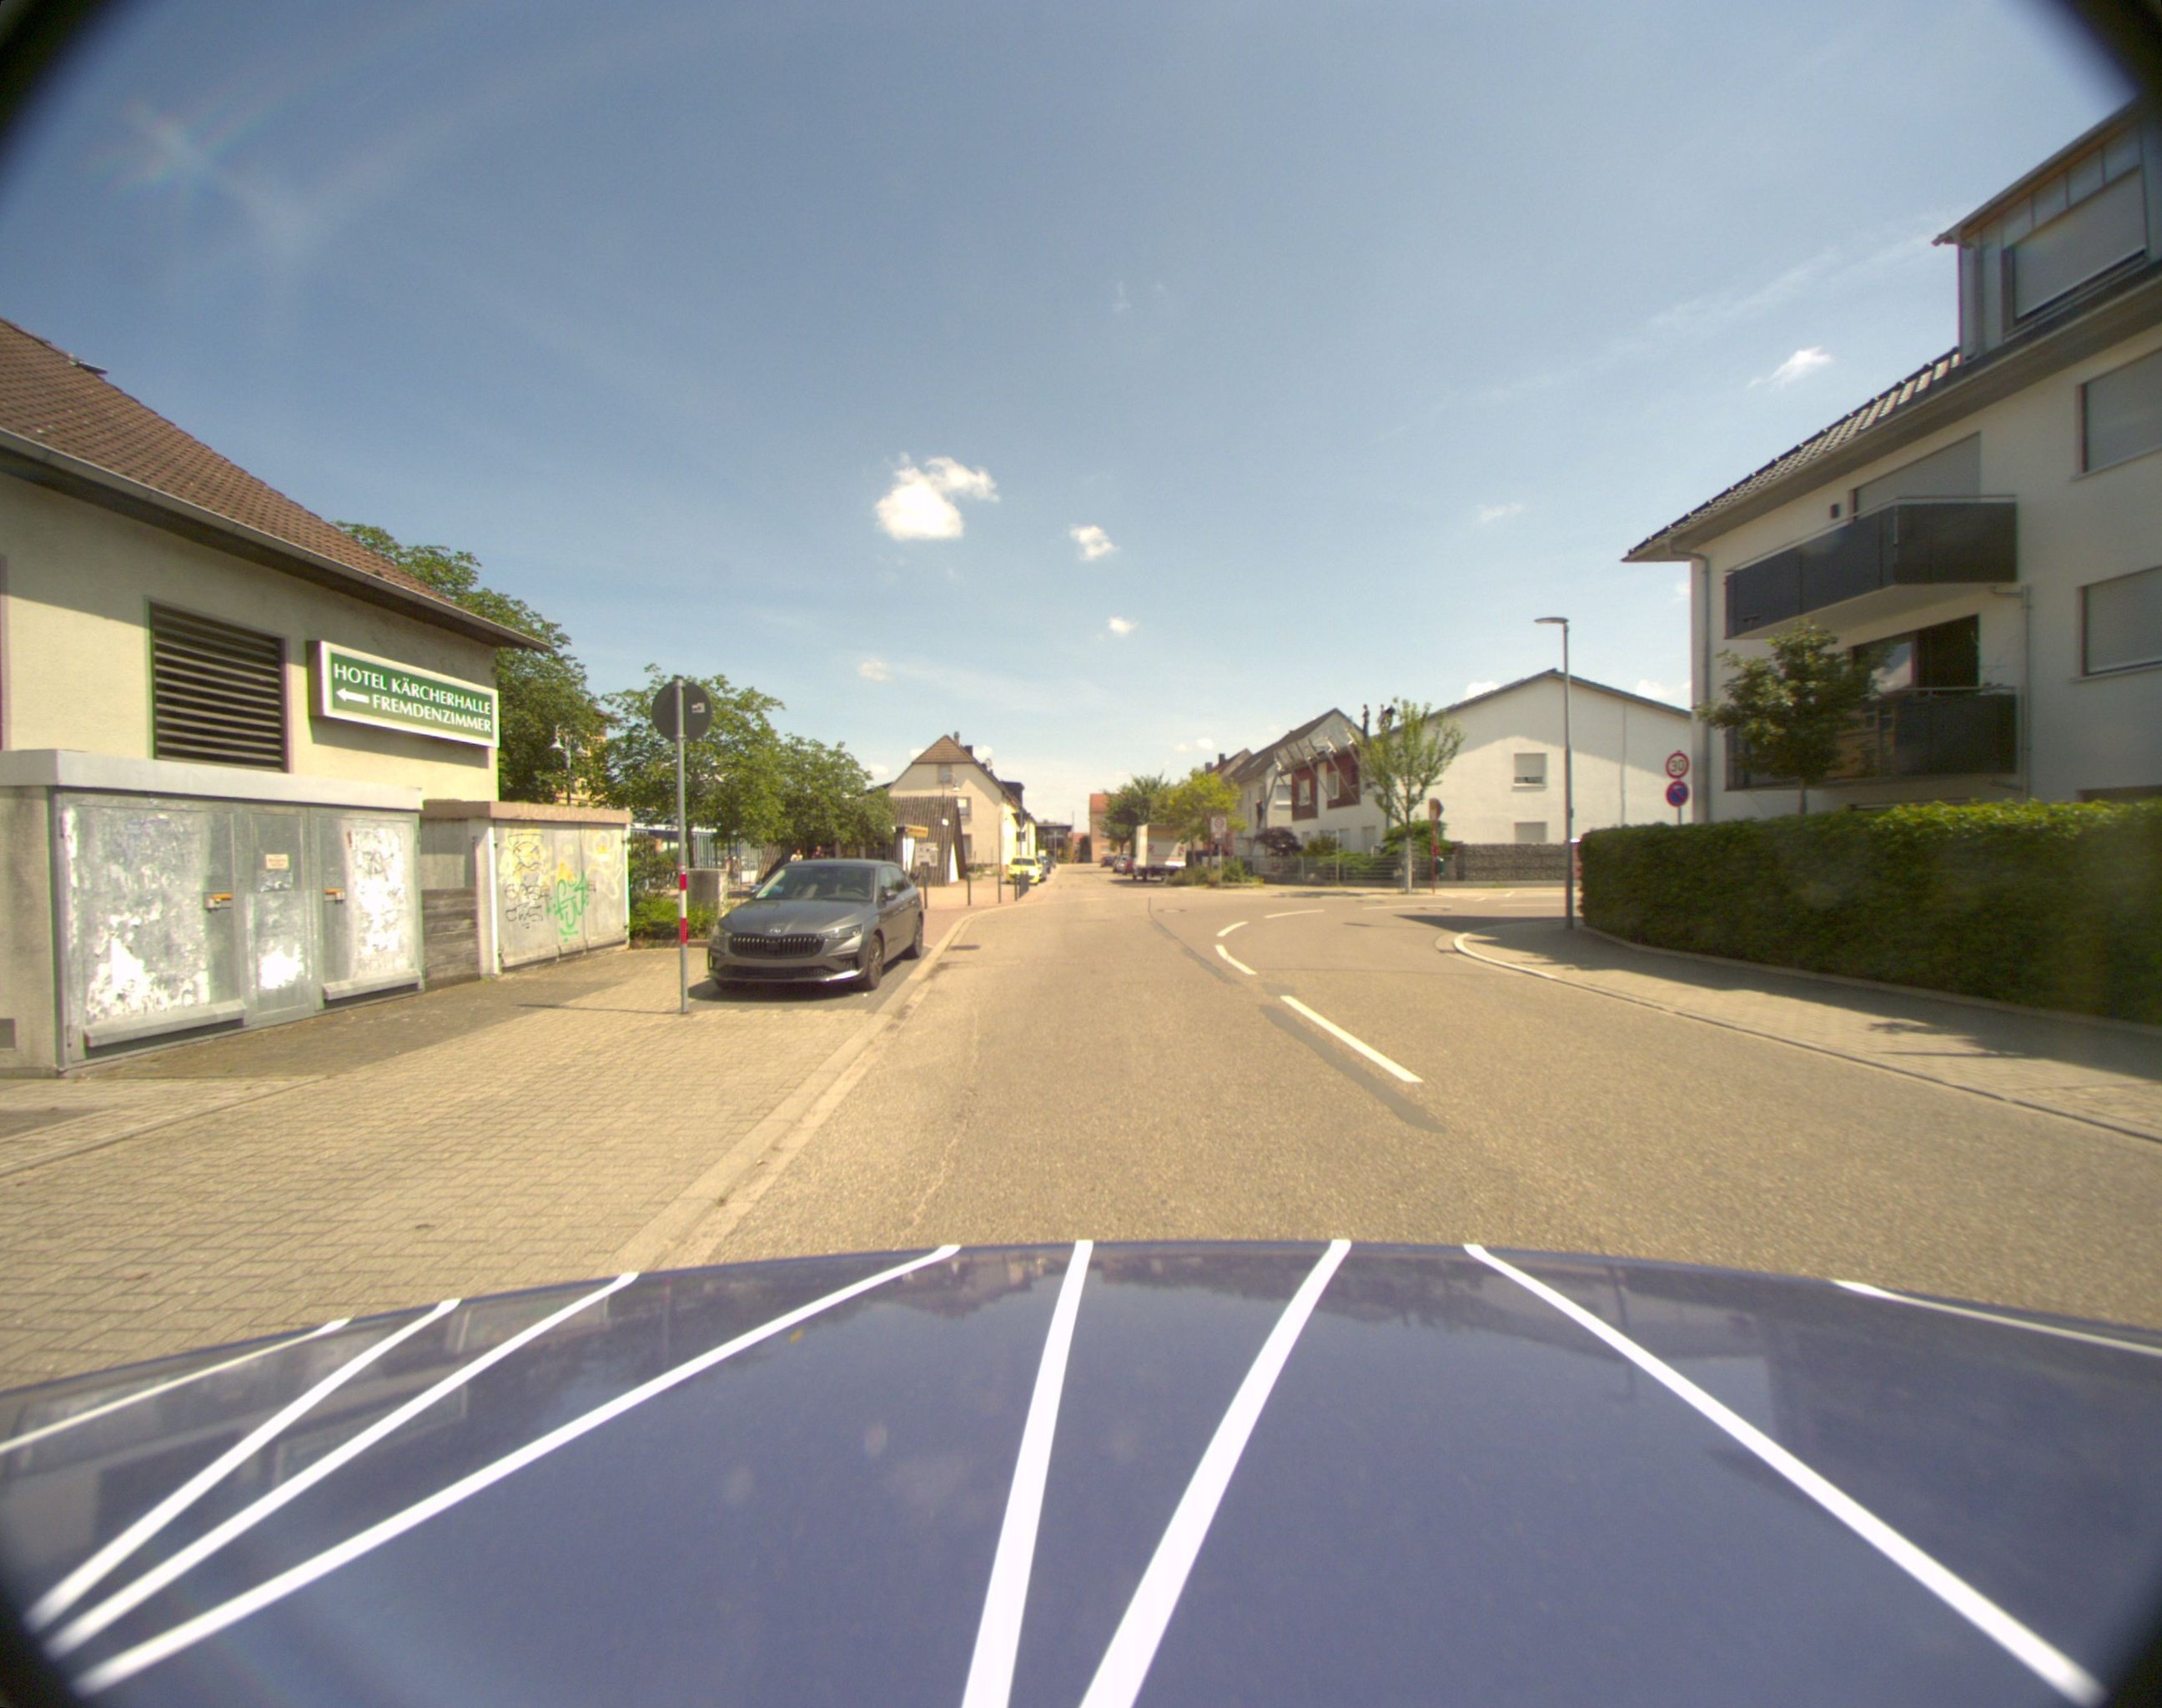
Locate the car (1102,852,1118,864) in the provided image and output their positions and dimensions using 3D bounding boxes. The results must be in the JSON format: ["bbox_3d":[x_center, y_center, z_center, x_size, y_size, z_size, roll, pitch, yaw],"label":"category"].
[{"bbox_3d":[3.580,0.464,95.105,1.721,1.491,4.214,1,0,-2],"label":"car"}]

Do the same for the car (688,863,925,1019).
[{"bbox_3d":[-3.163,0.894,9.670,1.632,1.480,4.138,0,0,-2],"label":"car"}]

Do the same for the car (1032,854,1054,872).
[{"bbox_3d":[-3.321,0.775,66.707,1.720,1.491,4.215,3,0,-1],"label":"car"}]

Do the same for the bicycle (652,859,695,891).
[{"bbox_3d":[-18.068,0.903,33.755,0.605,1.343,2.353,0,0,2],"label":"bicycle"}]

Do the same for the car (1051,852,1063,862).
[{"bbox_3d":[-3.699,0.477,119.389,1.720,1.491,4.215,3,0,-1],"label":"car"}]

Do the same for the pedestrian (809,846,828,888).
[{"bbox_3d":[-10.965,0.528,31.731,0.463,1.710,0.599,0,1,40],"label":"pedestrian"}]

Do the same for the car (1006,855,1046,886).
[{"bbox_3d":[-2.816,0.809,39.495,1.720,1.390,4.215,3,0,-1],"label":"car"}]

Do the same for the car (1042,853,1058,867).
[{"bbox_3d":[-3.630,0.653,89.100,1.720,1.491,4.215,3,0,-1],"label":"car"}]

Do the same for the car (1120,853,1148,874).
[{"bbox_3d":[4.017,0.725,58.290,1.721,1.491,4.214,1,0,-2],"label":"car"}]

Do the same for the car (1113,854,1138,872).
[{"bbox_3d":[3.773,0.736,64.645,1.721,1.491,4.214,1,0,-2],"label":"car"}]

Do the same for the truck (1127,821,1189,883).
[{"bbox_3d":[4.384,-0.116,44.637,2.444,3.227,7.034,2,0,-3],"label":"truck"}]

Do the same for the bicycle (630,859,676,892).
[{"bbox_3d":[-18.860,0.921,33.525,0.605,1.343,2.353,0,0,2],"label":"bicycle"}]

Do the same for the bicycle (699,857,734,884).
[{"bbox_3d":[-18.935,0.818,39.563,0.605,1.343,2.353,0,0,2],"label":"bicycle"}]

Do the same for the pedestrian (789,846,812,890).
[{"bbox_3d":[-11.472,0.578,31.069,0.548,1.778,0.682,0,1,40],"label":"pedestrian"}]

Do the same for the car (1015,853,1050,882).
[{"bbox_3d":[-2.760,0.736,44.103,1.720,1.491,4.215,3,0,-1],"label":"car"}]
